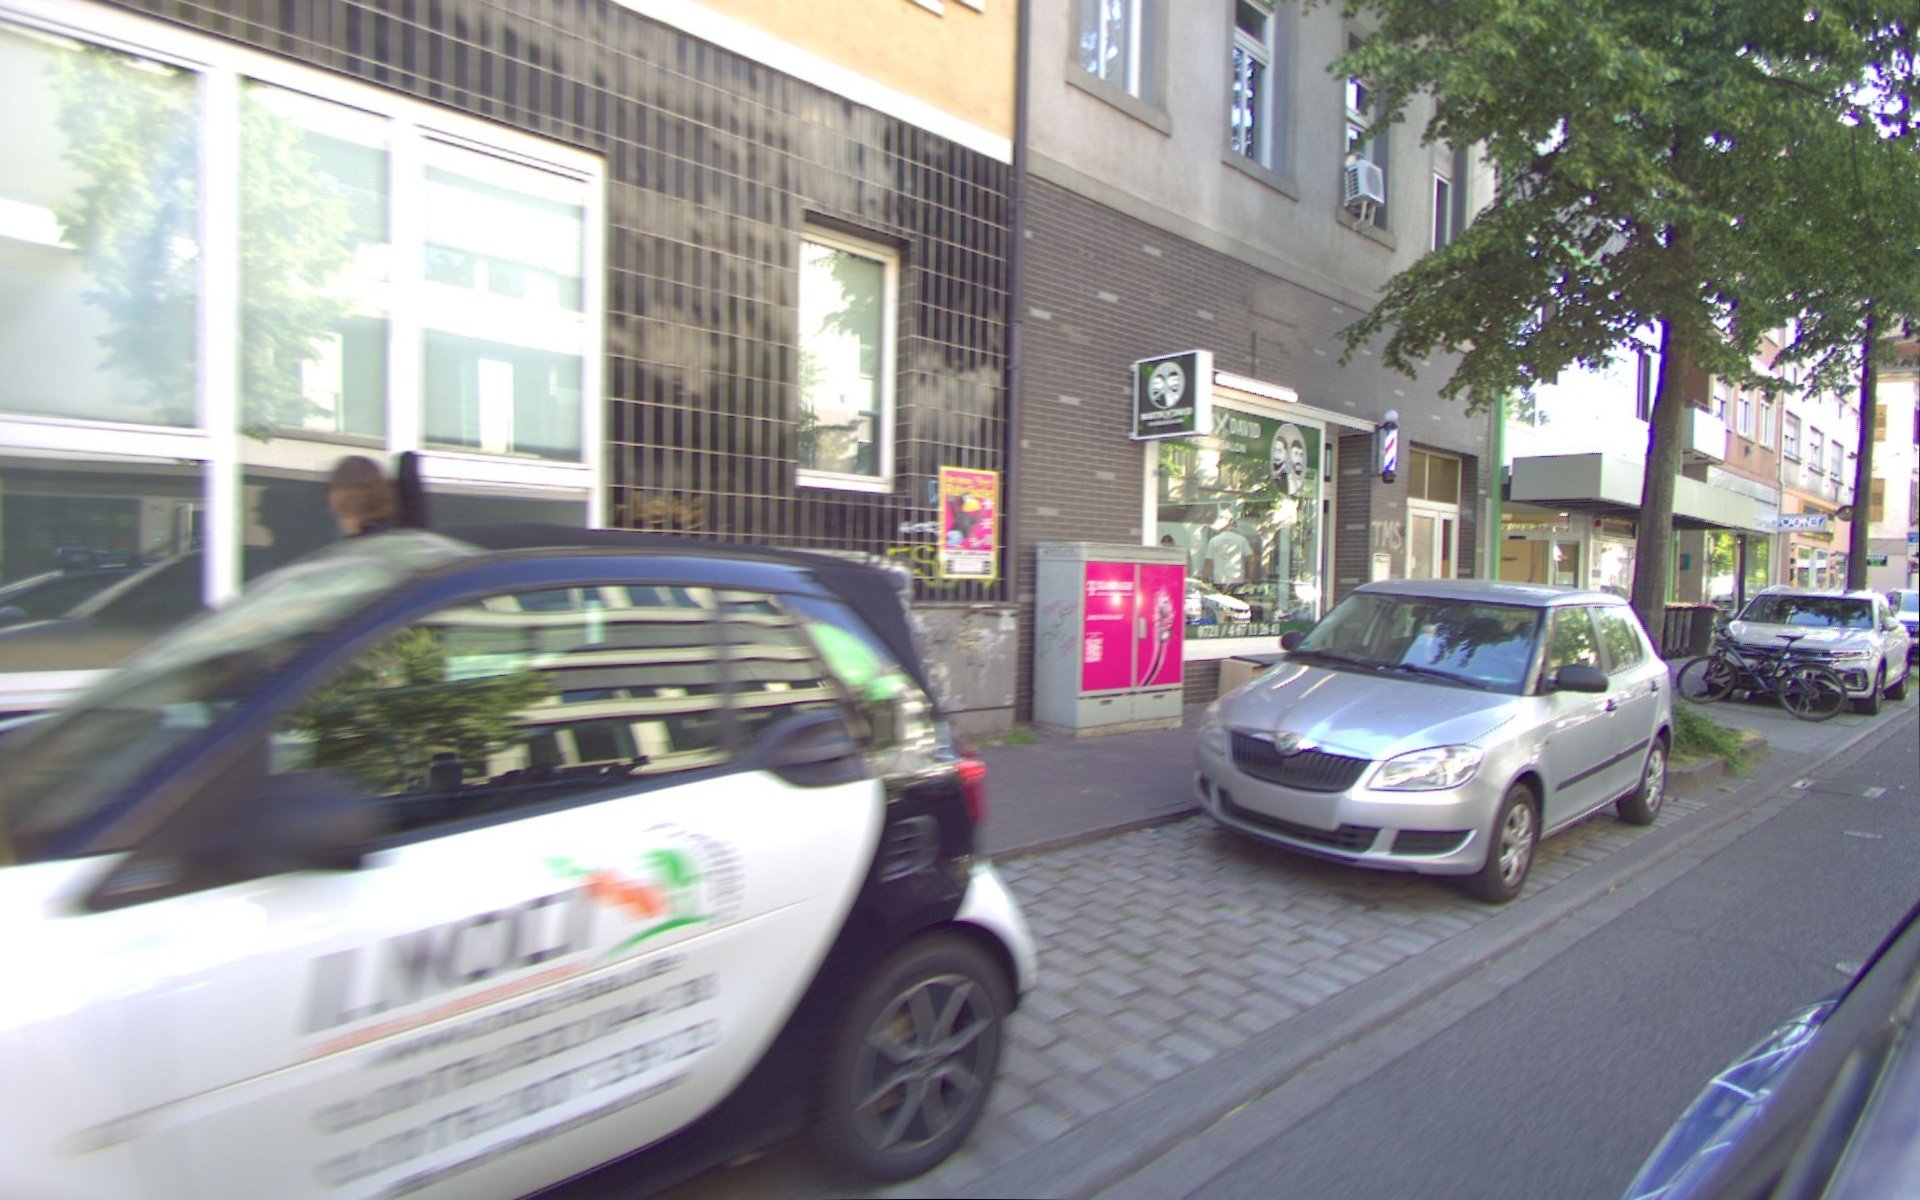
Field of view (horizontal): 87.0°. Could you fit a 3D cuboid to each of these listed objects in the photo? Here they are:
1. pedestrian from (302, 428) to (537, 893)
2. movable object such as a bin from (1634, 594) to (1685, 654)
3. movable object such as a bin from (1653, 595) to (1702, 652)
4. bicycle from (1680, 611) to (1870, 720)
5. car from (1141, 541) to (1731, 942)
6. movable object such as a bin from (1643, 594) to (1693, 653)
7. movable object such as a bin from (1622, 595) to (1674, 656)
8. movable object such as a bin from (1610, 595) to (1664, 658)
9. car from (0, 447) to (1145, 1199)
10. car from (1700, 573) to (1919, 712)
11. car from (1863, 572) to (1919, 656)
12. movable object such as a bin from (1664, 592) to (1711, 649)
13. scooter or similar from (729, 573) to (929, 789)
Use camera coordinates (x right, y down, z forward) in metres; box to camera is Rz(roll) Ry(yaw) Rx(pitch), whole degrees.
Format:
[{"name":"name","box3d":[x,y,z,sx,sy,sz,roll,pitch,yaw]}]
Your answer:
[{"name":"pedestrian","box3d":[-2.327,0.216,4.346,0.757,1.786,0.624,0,4,-40]},{"name":"movable object such as a bin","box3d":[13.034,0.430,18.867,0.579,1.077,0.615,0,2,-40]},{"name":"movable object such as a bin","box3d":[13.926,0.444,19.640,0.579,1.077,0.615,0,2,-40]},{"name":"bicycle","box3d":[9.740,0.747,12.146,0.601,1.024,1.626,0,6,-42]},{"name":"car","box3d":[3.066,0.531,6.051,4.162,1.547,1.617,0,5,-42]},{"name":"movable object such as a bin","box3d":[13.473,0.443,19.252,0.579,1.077,0.615,0,2,-40]},{"name":"movable object such as a bin","box3d":[12.569,0.456,18.493,0.579,1.077,0.615,0,2,-40]},{"name":"movable object such as a bin","box3d":[12.109,0.461,18.101,0.643,1.077,0.615,0,2,-40]},{"name":"car","box3d":[-1.152,0.518,2.489,3.008,1.547,1.617,0,4,-42]},{"name":"car","box3d":[11.993,0.475,14.039,4.161,1.545,1.887,0,4,-42]},{"name":"car","box3d":[21.917,0.334,22.606,4.438,1.709,1.998,0,5,-42]},{"name":"movable object such as a bin","box3d":[14.410,0.395,20.047,0.579,1.077,0.612,0,2,-40]},{"name":"scooter or similar","box3d":[-0.789,0.451,6.229,1.147,1.201,0.400,0,4,-40]}]
